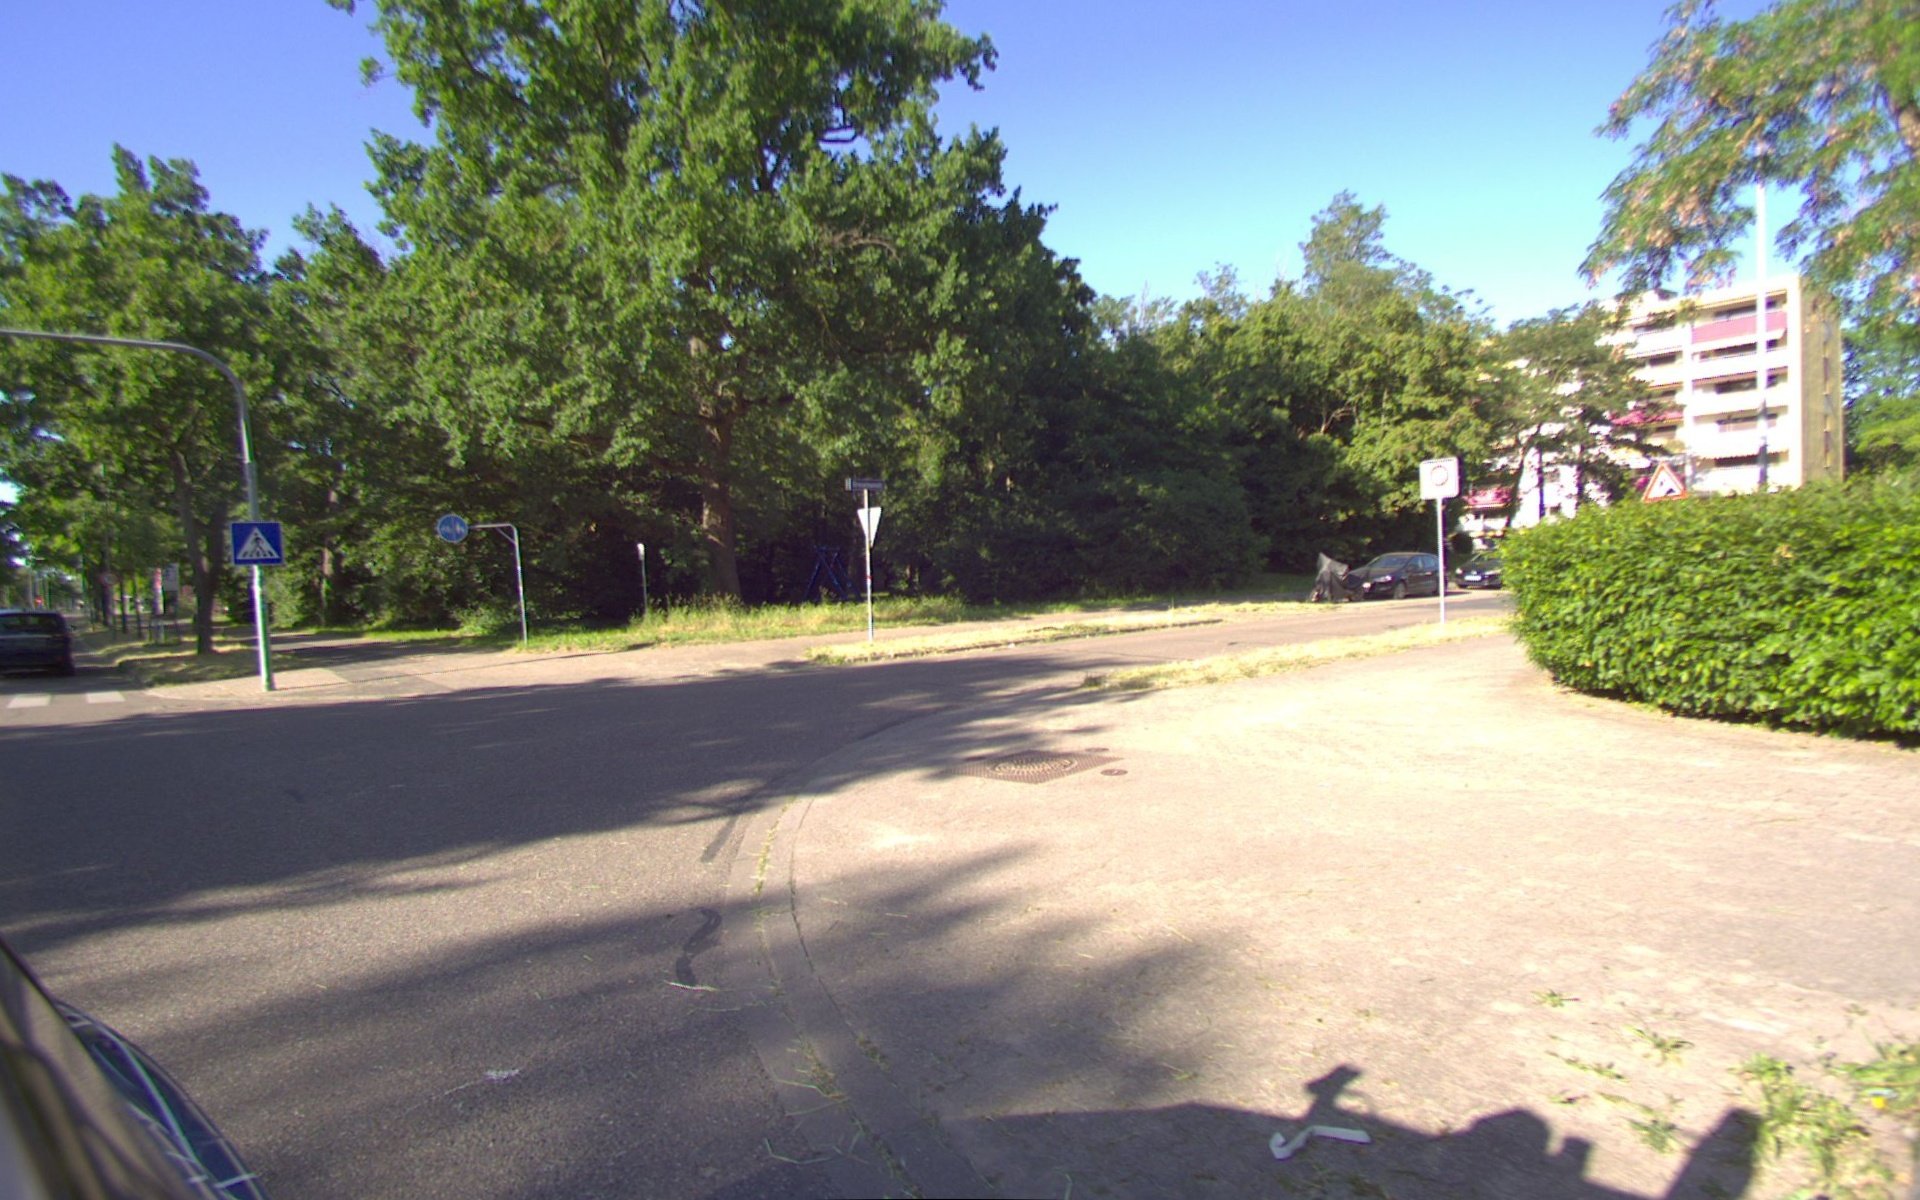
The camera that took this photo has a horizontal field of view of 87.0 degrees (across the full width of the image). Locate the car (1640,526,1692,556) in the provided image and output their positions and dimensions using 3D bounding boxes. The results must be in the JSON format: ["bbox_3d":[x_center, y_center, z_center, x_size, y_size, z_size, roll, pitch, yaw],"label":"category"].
[{"bbox_3d":[46.981,-3.928,67.333,3.775,1.757,1.766,-4,2,-38],"label":"car"}]

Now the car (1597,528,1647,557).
[{"bbox_3d":[45.412,-3.958,69.389,3.775,1.757,1.766,-4,2,-38],"label":"car"}]

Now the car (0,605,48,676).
[{"bbox_3d":[-23.908,0.985,25.047,1.800,1.637,4.496,-1,0,-44],"label":"car"}]

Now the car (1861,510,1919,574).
[{"bbox_3d":[33.298,-2.072,35.548,3.775,2.075,1.831,-4,2,-38],"label":"car"}]

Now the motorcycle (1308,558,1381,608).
[{"bbox_3d":[11.318,-0.505,29.807,1.947,1.354,0.671,-2,1,22],"label":"motorcycle"}]

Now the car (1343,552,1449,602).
[{"bbox_3d":[13.936,-0.750,32.296,3.532,1.402,1.563,-4,2,-38],"label":"car"}]

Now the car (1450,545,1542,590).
[{"bbox_3d":[19.094,-1.173,35.991,3.532,1.402,1.563,-4,2,-38],"label":"car"}]
